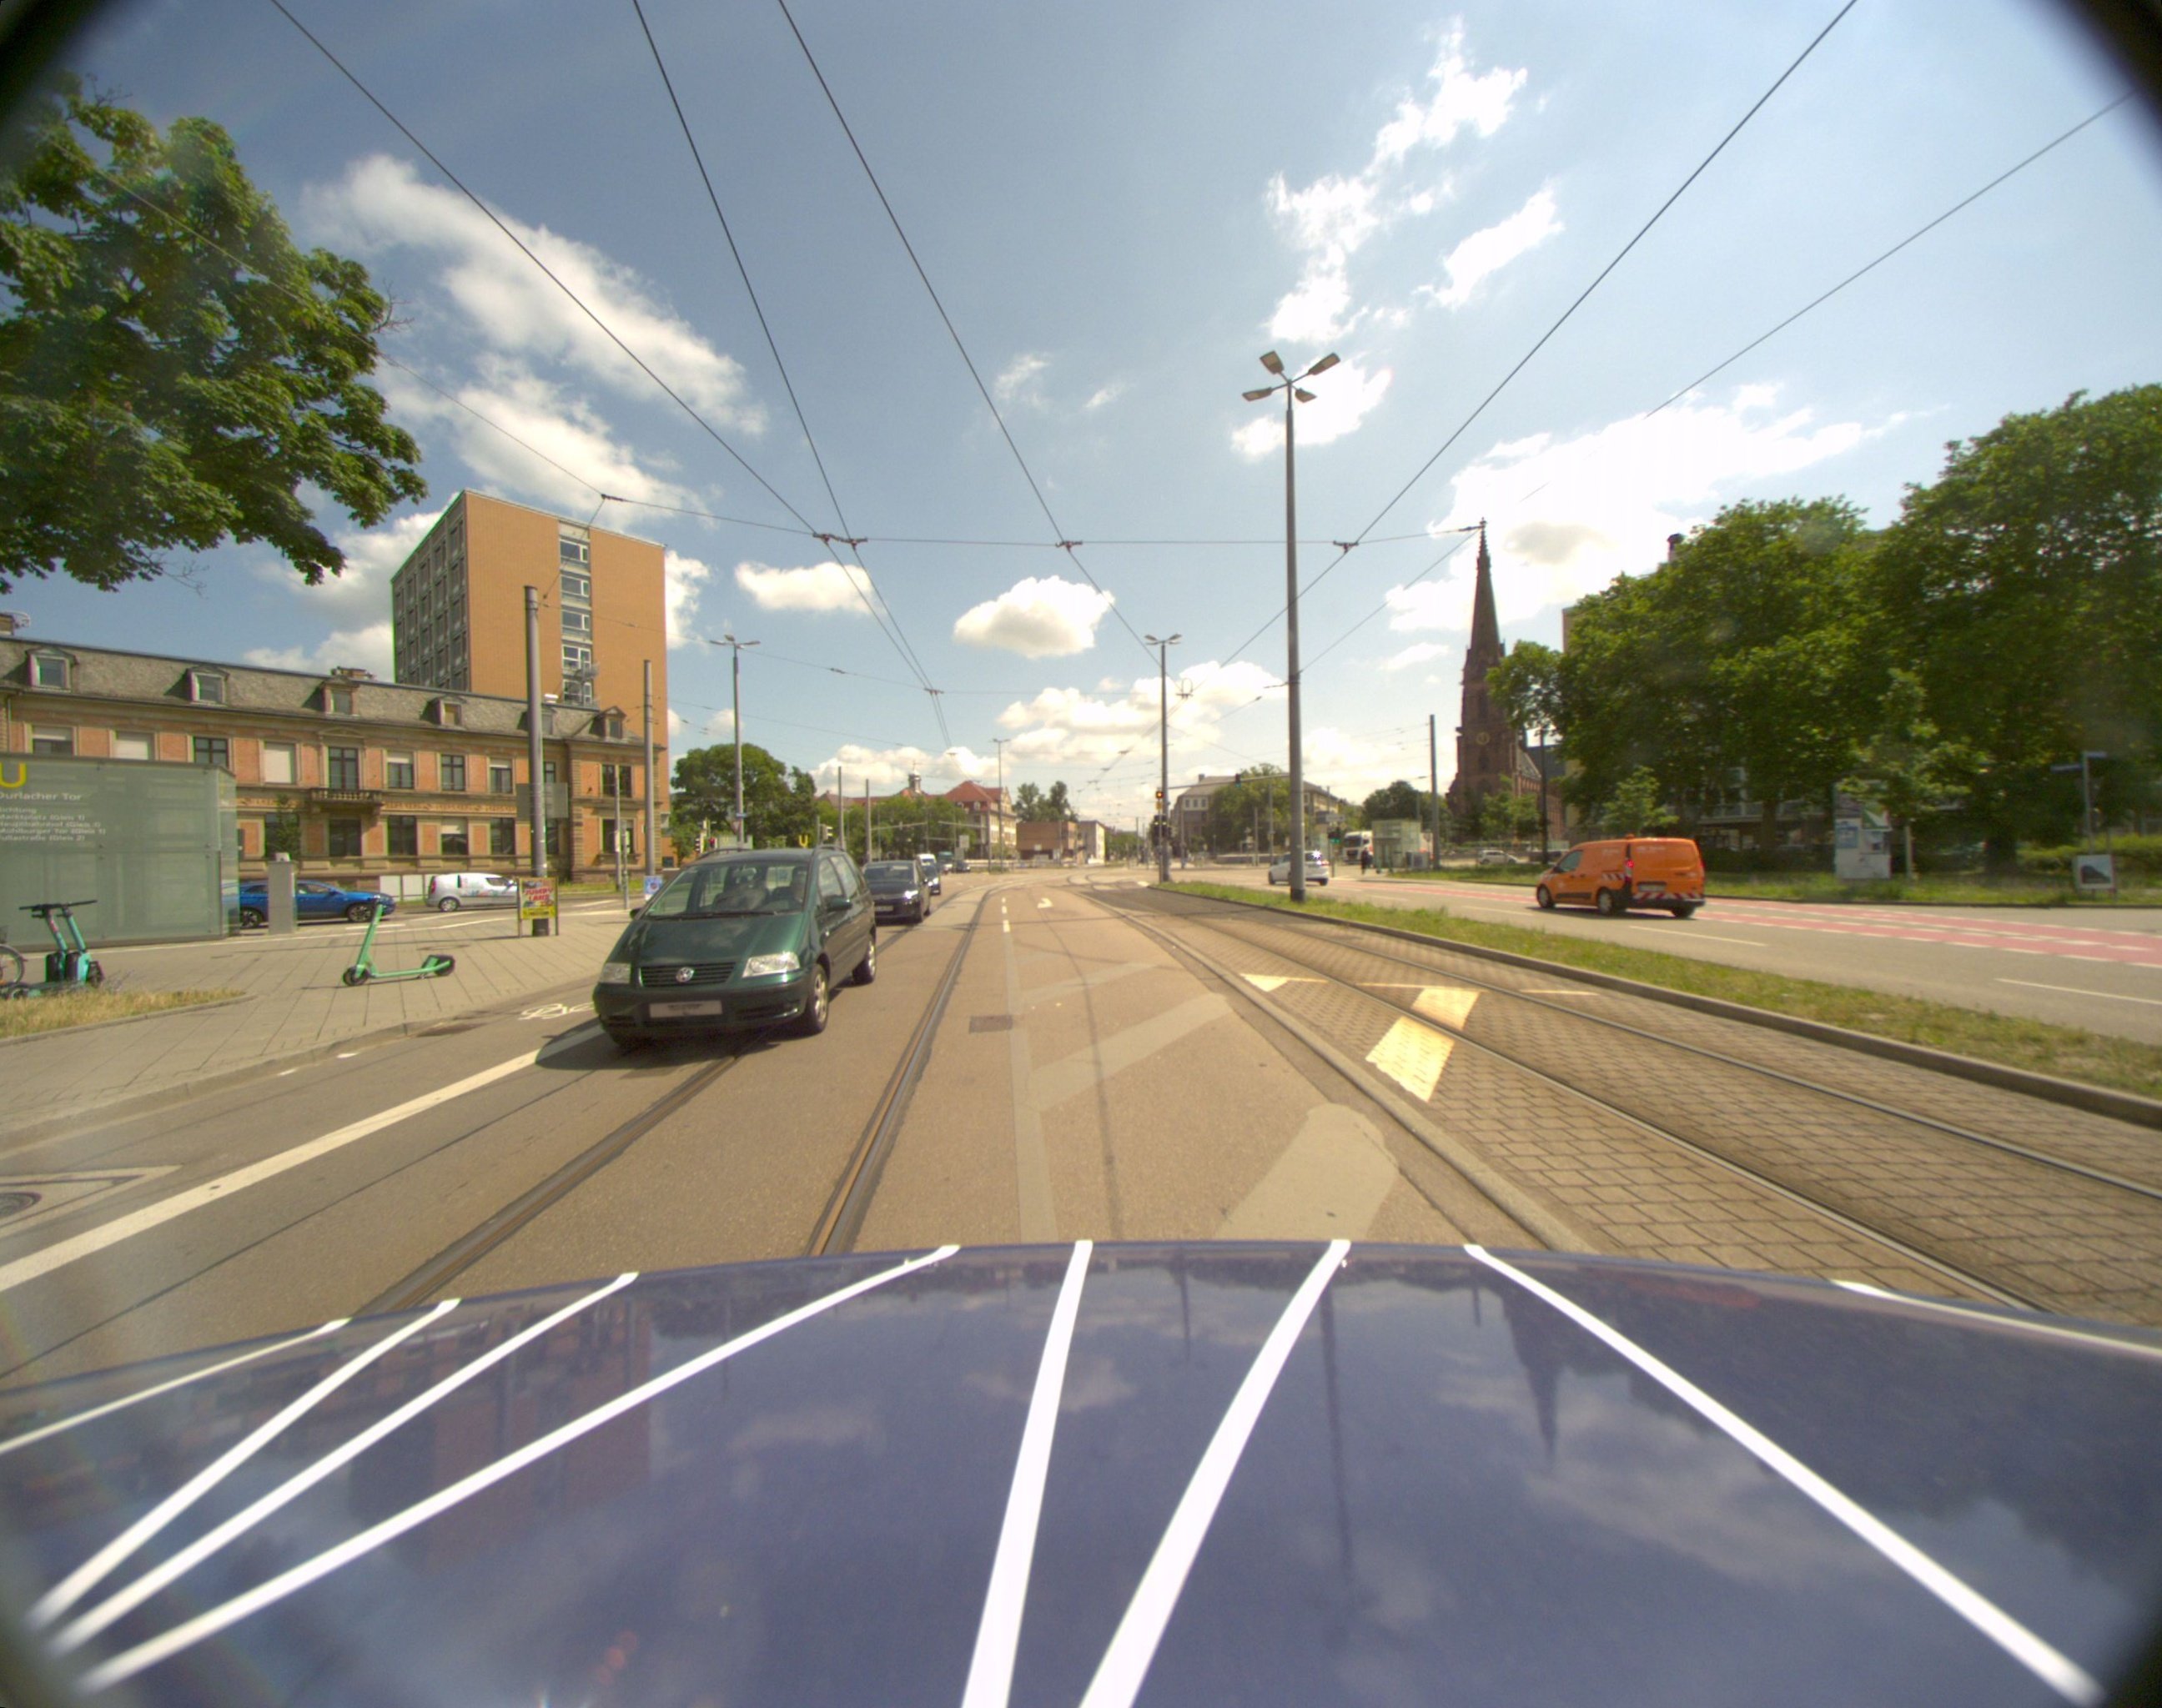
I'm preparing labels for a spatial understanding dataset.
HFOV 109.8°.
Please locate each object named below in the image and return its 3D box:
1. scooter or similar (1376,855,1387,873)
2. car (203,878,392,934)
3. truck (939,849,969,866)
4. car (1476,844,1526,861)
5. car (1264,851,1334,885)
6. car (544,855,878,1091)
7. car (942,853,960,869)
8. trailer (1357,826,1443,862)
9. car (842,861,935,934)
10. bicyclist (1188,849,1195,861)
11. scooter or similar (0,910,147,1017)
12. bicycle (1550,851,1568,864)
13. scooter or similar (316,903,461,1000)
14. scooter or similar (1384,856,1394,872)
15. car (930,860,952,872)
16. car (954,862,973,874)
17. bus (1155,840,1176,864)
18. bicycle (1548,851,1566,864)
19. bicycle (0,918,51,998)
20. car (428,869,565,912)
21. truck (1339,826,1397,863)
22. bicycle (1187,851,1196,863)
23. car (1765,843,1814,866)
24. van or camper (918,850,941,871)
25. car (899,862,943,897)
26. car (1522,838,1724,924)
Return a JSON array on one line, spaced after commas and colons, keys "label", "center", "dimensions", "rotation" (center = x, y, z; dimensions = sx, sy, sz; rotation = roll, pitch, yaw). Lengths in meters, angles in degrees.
[{"label": "scooter or similar", "center": [20.575, 0.681, 52.029], "dimensions": [0.462, 1.193, 0.549], "rotation": [-1, 0, -7]}, {"label": "car", "center": [-27.000, 1.727, 26.437], "dimensions": [4.435, 1.542, 1.868], "rotation": [-2, 2, -43]}, {"label": "truck", "center": [-23.712, 0.705, 141.752], "dimensions": [3.360, 2.980, 8.717], "rotation": [-2, 0, -24]}, {"label": "car", "center": [43.185, -0.119, 78.254], "dimensions": [4.165, 1.633, 1.631], "rotation": [-1, 0, 12]}, {"label": "car", "center": [10.718, 0.668, 37.671], "dimensions": [1.772, 1.594, 4.490], "rotation": [0, 0, -6]}, {"label": "car", "center": [-3.412, 0.922, 7.984], "dimensions": [1.820, 1.707, 4.082], "rotation": [-3, 1, -7]}, {"label": "car", "center": [-17.294, 0.922, 101.024], "dimensions": [1.817, 2.002, 3.993], "rotation": [-1, 0, -19]}, {"label": "trailer", "center": [38.512, -1.237, 91.312], "dimensions": [13.444, 4.052, 2.941], "rotation": [-1, 0, -36]}, {"label": "car", "center": [-5.040, 1.064, 20.441], "dimensions": [1.874, 1.607, 4.423], "rotation": [-4, 1, -8]}, {"label": "bicyclist", "center": [19.428, 0.131, 133.429], "dimensions": [1.124, 2.002, 1.320], "rotation": [0, 1, 3]}, {"label": "scooter or similar", "center": [-13.449, 1.387, 9.886], "dimensions": [0.951, 1.196, 1.388], "rotation": [-1, 1, -12]}, {"label": "bicycle", "center": [43.338, 0.343, 68.856], "dimensions": [0.460, 1.139, 1.270], "rotation": [-1, 0, -40]}, {"label": "scooter or similar", "center": [-9.423, 1.301, 10.397], "dimensions": [0.950, 1.173, 1.086], "rotation": [-1, 1, 1]}, {"label": "scooter or similar", "center": [21.166, 0.692, 52.262], "dimensions": [0.416, 1.118, 0.556], "rotation": [-1, 0, -7]}, {"label": "car", "center": [-16.782, 1.426, 90.985], "dimensions": [1.903, 1.455, 4.254], "rotation": [-2, 0, -18]}, {"label": "car", "center": [-14.479, 1.717, 93.459], "dimensions": [1.673, 1.368, 3.910], "rotation": [-1, 0, -17]}, {"label": "bus", "center": [13.077, -0.303, 117.918], "dimensions": [2.948, 3.427, 7.951], "rotation": [-1, 0, 5]}, {"label": "bicycle", "center": [42.882, 0.347, 68.497], "dimensions": [0.460, 1.139, 1.270], "rotation": [-1, 0, -40]}, {"label": "bicycle", "center": [-15.651, 1.482, 10.038], "dimensions": [1.027, 1.075, 2.262], "rotation": [0, 0, -3]}, {"label": "car", "center": [-25.045, 1.510, 32.649], "dimensions": [4.435, 1.578, 1.869], "rotation": [-2, 0, -44]}, {"label": "truck", "center": [32.969, -1.138, 87.224], "dimensions": [6.891, 4.094, 2.956], "rotation": [-1, 0, -36]}, {"label": "bicycle", "center": [19.461, 0.575, 133.491], "dimensions": [1.247, 2.002, 3.485], "rotation": [-2, 0, 3]}, {"label": "car", "center": [49.239, 0.012, 52.809], "dimensions": [3.939, 1.501, 1.875], "rotation": [-1, 0, -38]}, {"label": "van or camper", "center": [-20.012, 0.872, 99.992], "dimensions": [2.235, 2.719, 5.513], "rotation": [-1, 0, -18]}, {"label": "car", "center": [-7.697, 1.153, 36.444], "dimensions": [1.875, 1.477, 4.421], "rotation": [-2, 0, -13]}, {"label": "car", "center": [12.911, 0.587, 18.518], "dimensions": [1.915, 1.855, 4.368], "rotation": [0, 0, 2]}]
